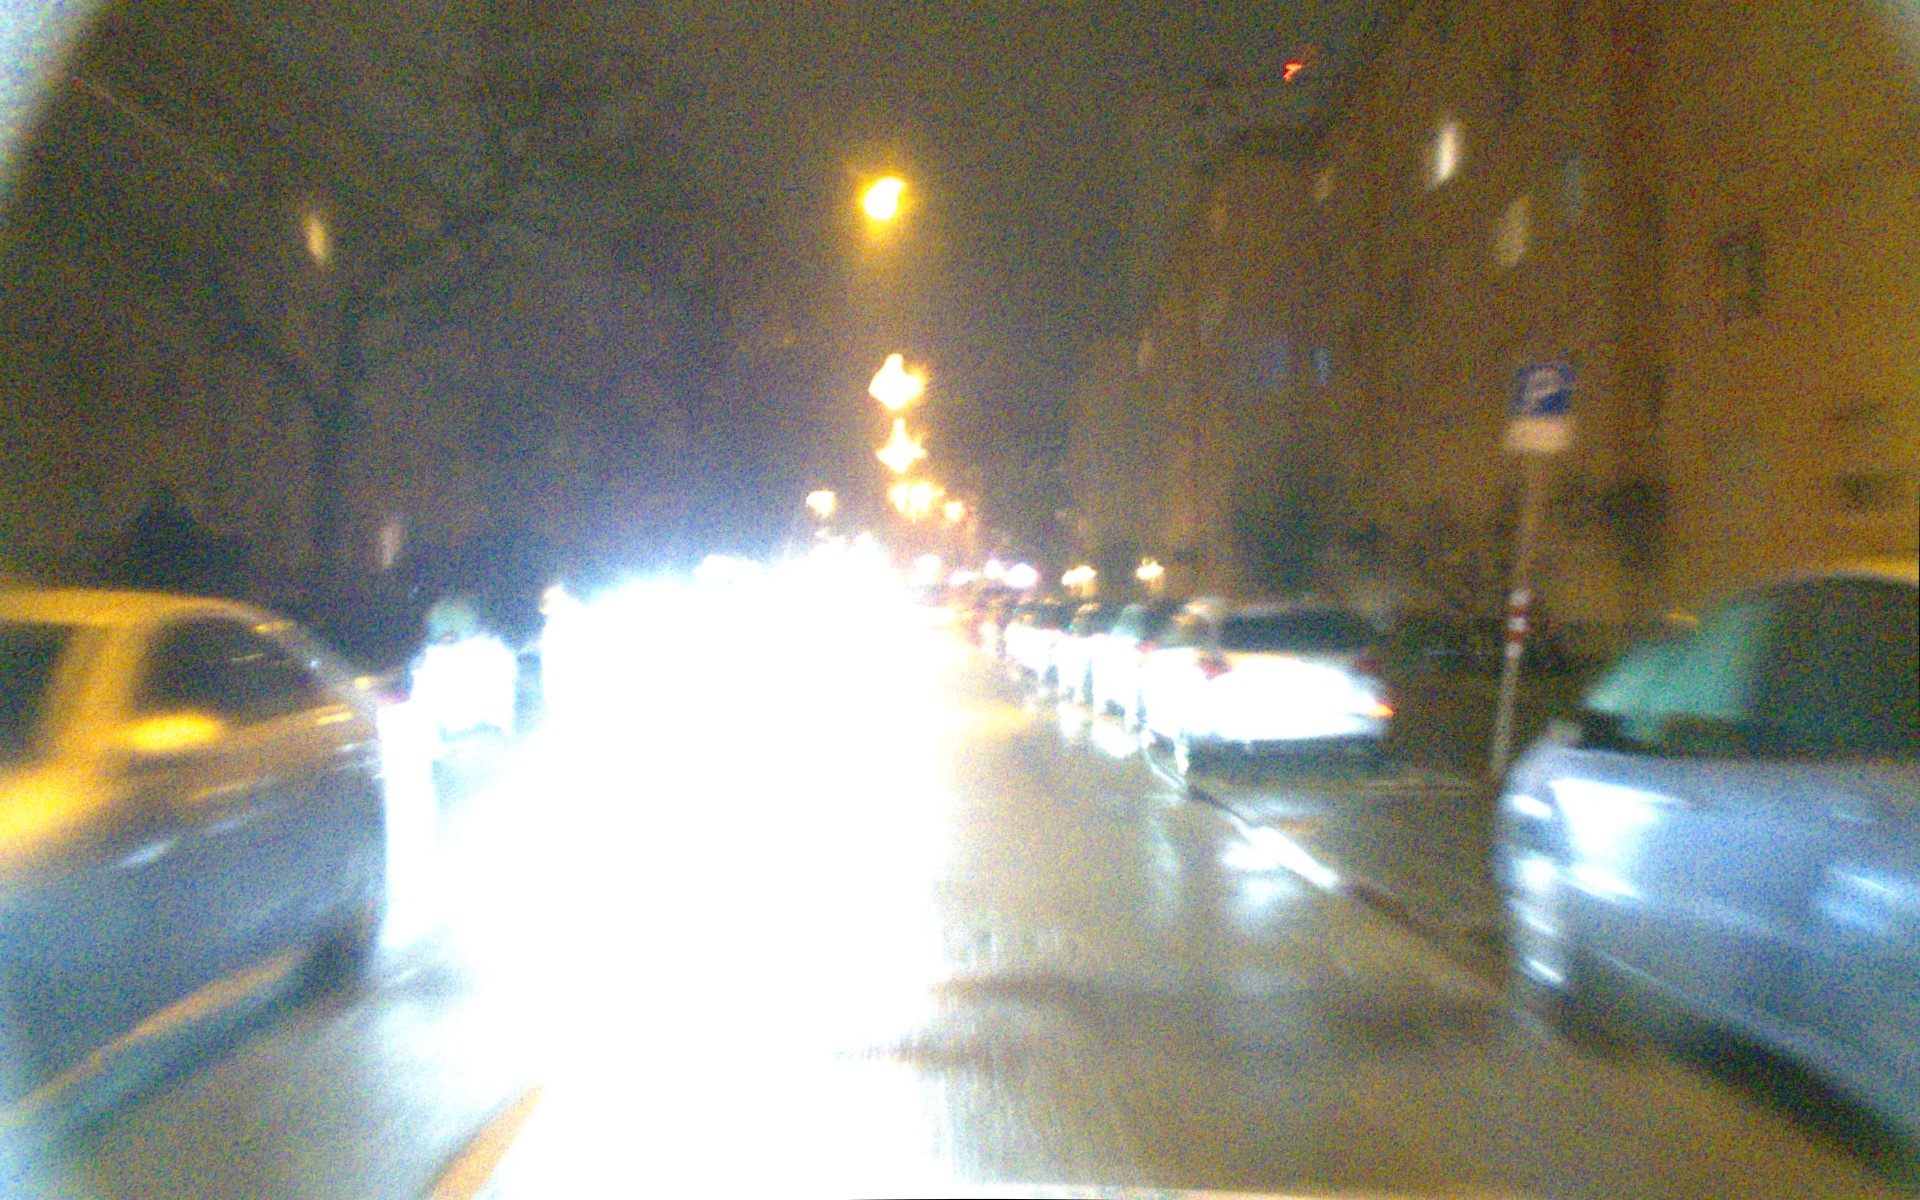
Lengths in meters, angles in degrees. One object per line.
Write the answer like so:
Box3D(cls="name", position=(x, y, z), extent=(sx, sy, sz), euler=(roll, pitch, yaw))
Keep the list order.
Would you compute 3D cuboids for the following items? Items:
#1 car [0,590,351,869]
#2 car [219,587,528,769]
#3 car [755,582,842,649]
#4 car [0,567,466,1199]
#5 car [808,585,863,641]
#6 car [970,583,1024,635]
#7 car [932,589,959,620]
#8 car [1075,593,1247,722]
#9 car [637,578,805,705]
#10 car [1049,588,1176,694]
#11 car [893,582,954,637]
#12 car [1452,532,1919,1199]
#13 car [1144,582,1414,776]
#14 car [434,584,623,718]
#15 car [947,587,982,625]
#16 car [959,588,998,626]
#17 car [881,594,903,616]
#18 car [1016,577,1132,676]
Box3D(cls="car", position=(-5.837, 0.732, 11.308), extent=(1.546, 1.482, 4.644), euler=(-3, 1, 0))
Box3D(cls="car", position=(-5.936, 0.698, 17.317), extent=(1.579, 1.562, 4.301), euler=(-3, 1, 1))
Box3D(cls="car", position=(-3.789, 0.320, 39.516), extent=(1.784, 1.489, 4.863), euler=(0, 1, -2))
Box3D(cls="car", position=(-2.965, 0.628, 4.942), extent=(1.641, 1.459, 4.511), euler=(1, 0, -1))
Box3D(cls="car", position=(-4.180, 0.422, 56.079), extent=(1.655, 1.816, 3.999), euler=(1, 0, -2))
Box3D(cls="car", position=(1.185, 0.268, 54.531), extent=(1.505, 1.589, 3.803), euler=(-3, 1, -2))
Box3D(cls="car", position=(-0.874, 0.257, 99.892), extent=(1.505, 1.739, 3.803), euler=(-3, 1, -2))
Box3D(cls="car", position=(2.483, 0.663, 21.201), extent=(1.571, 1.412, 3.791), euler=(-3, 0, -2))
Box3D(cls="car", position=(-3.119, 0.474, 22.393), extent=(1.820, 1.486, 4.522), euler=(0, 2, -3))
Box3D(cls="car", position=(2.284, 0.572, 25.555), extent=(1.465, 1.412, 3.746), euler=(-3, 1, -2))
Box3D(cls="car", position=(-1.230, 0.290, 56.412), extent=(1.953, 1.713, 4.000), euler=(-1, 1, -1))
Box3D(cls="car", position=(3.172, 0.602, 4.895), extent=(1.843, 1.600, 4.587), euler=(-3, 1, -2))
Box3D(cls="car", position=(2.843, 0.618, 15.691), extent=(1.595, 1.492, 4.510), euler=(-3, 1, -1))
Box3D(cls="car", position=(-5.964, 0.628, 23.347), extent=(1.580, 1.598, 4.450), euler=(-4, 1, -2))
Box3D(cls="car", position=(0.199, 0.255, 80.995), extent=(1.505, 1.739, 3.803), euler=(-3, 1, -2))
Box3D(cls="car", position=(0.815, 0.284, 74.494), extent=(1.505, 1.589, 3.803), euler=(-3, 1, -2))
Box3D(cls="car", position=(-5.909, 0.396, 143.748), extent=(1.776, 1.739, 3.803), euler=(-3, 1, -2))
Box3D(cls="car", position=(2.120, 0.451, 31.873), extent=(1.784, 1.702, 3.999), euler=(-3, 1, -2))
